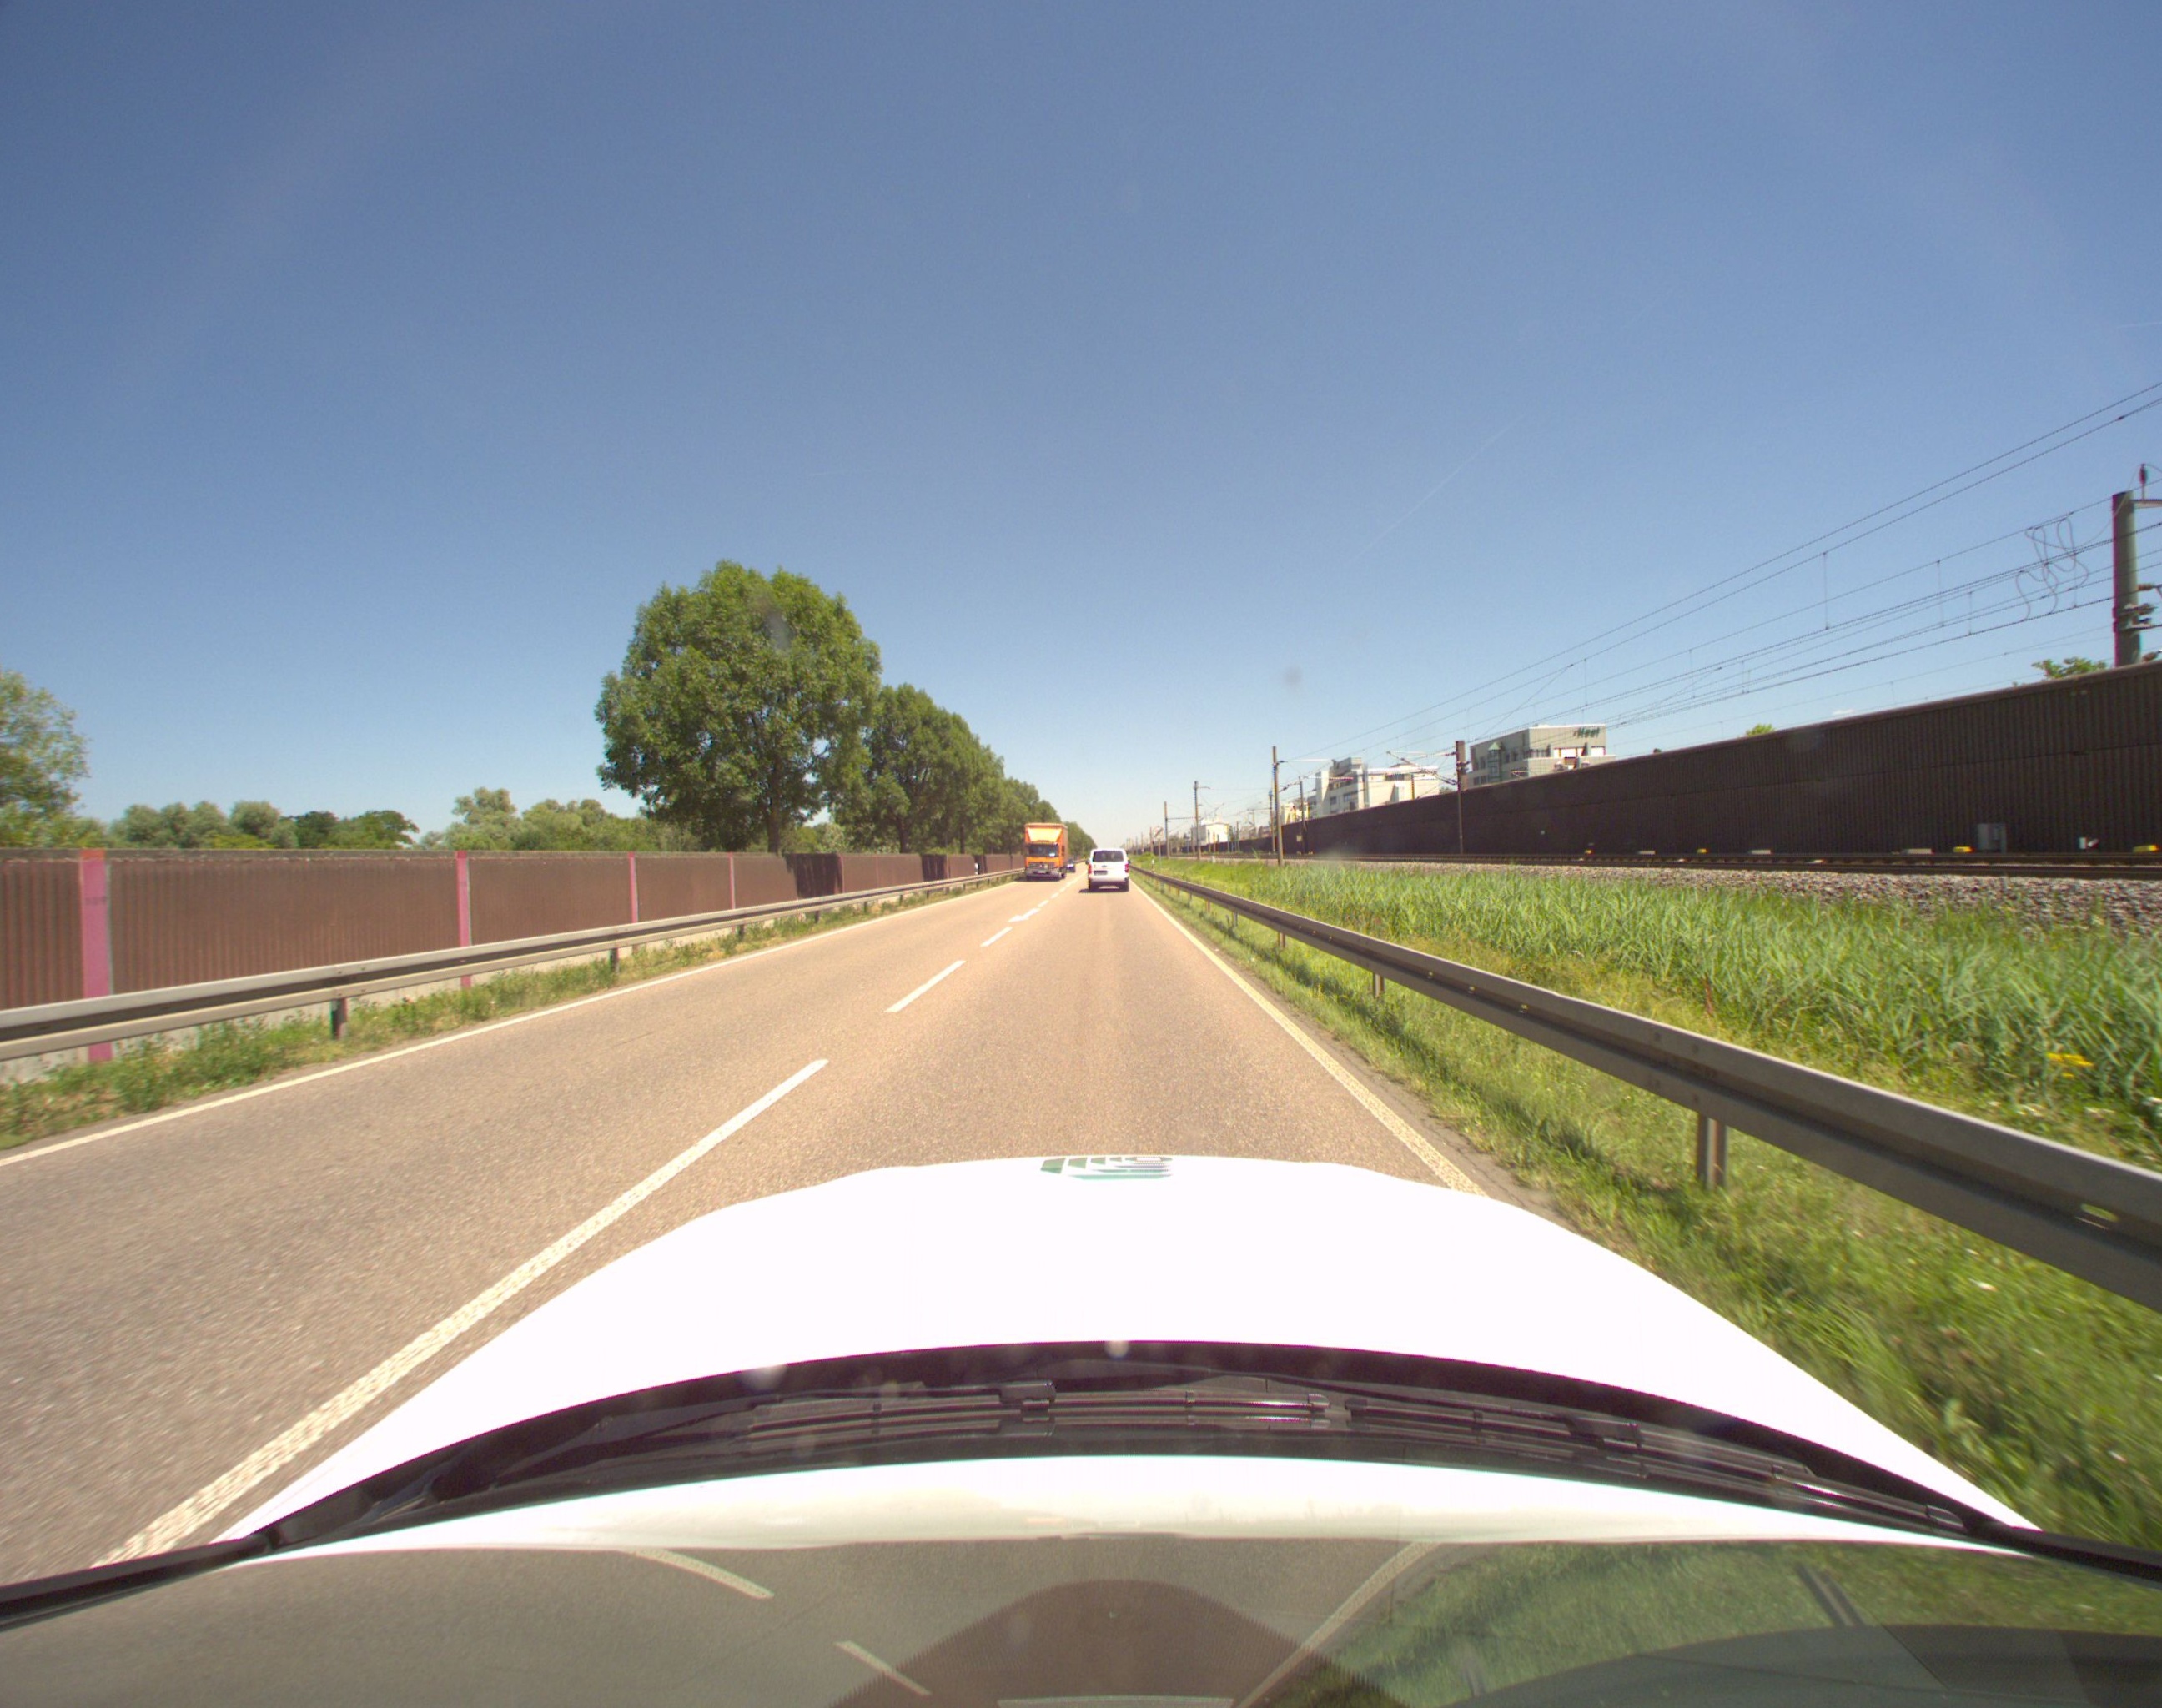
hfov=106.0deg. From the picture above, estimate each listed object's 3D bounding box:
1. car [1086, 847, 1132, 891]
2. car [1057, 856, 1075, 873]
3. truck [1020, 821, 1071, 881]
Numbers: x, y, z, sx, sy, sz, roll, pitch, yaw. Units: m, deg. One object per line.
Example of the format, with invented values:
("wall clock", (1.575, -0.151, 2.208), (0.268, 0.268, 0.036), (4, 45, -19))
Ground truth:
("car", (1.291, 0.680, 37.840), (1.938, 1.881, 4.882), (-1, -1, 2))
("car", (-1.500, 1.026, 82.713), (1.616, 1.577, 3.765), (-2, 0, 2))
("truck", (-2.355, -0.162, 57.541), (2.781, 3.840, 9.328), (-1, 0, 2))
